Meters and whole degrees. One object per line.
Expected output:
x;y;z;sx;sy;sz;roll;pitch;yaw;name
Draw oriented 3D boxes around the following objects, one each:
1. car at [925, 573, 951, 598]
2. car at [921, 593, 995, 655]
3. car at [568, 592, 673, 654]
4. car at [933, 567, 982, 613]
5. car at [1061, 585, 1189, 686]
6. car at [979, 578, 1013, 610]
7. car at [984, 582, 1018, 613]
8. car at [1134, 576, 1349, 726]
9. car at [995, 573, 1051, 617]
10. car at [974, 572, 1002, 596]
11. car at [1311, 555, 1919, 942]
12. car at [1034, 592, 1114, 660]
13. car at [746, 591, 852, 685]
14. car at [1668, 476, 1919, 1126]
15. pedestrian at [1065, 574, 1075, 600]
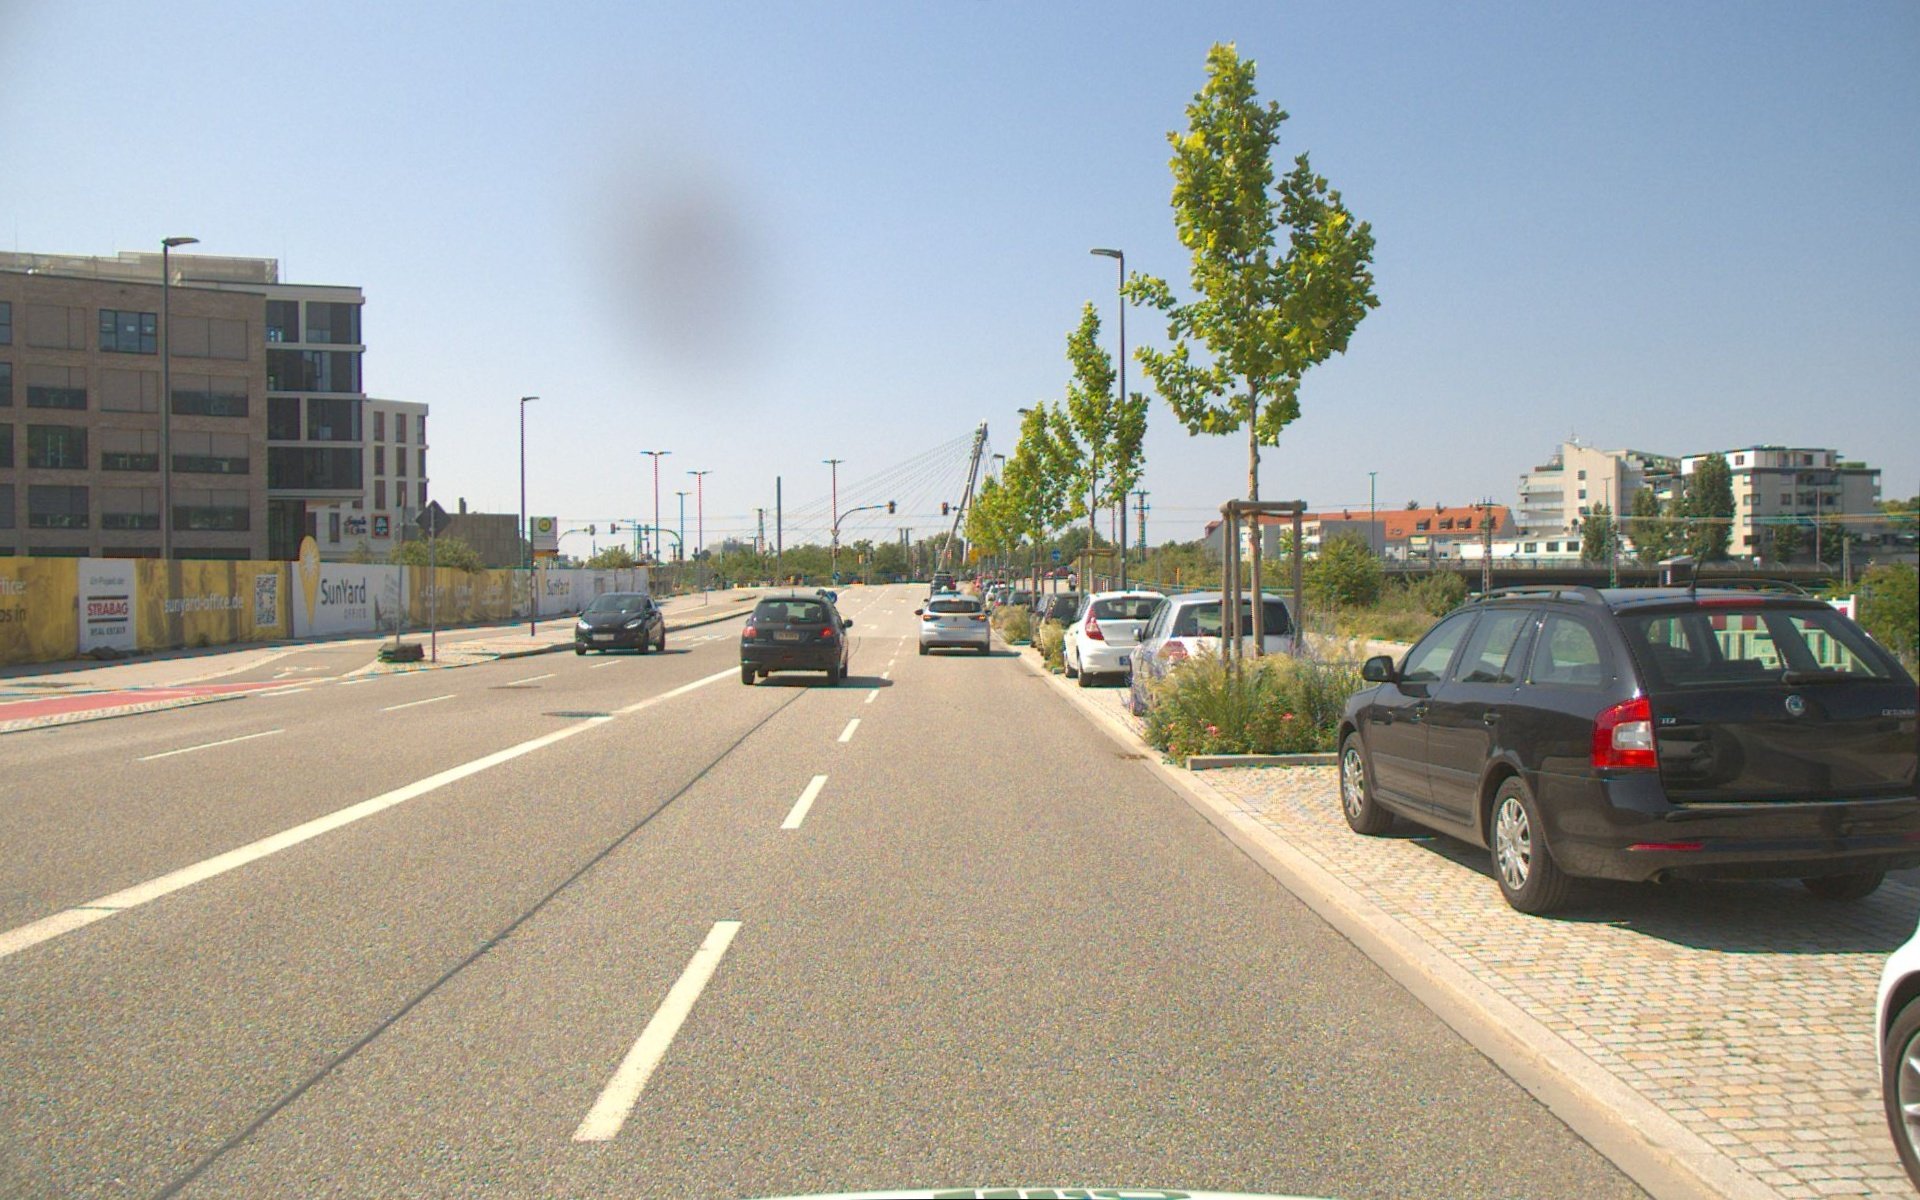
-1.476;-0.984;112.049;1.742;1.596;4.000;0;2;-1;car
-0.052;0.565;41.449;1.742;1.467;4.000;1;0;0;car
-8.163;0.526;40.126;1.669;1.376;4.455;-1;0;-1;car
-0.113;-0.399;61.250;1.742;1.596;4.000;0;2;-1;car
2.675;0.524;27.615;1.710;1.535;4.001;0;1;-1;car
2.008;-0.377;92.200;1.785;1.644;3.612;-2;1;1;car
2.095;-0.161;85.542;1.662;1.501;4.205;-2;1;0;car
3.075;0.504;18.855;1.869;1.505;4.159;-1;0;2;car
2.271;-0.158;60.516;1.670;1.488;3.952;-2;0;-3;car
1.874;-1.073;110.522;1.742;1.530;4.000;-1;1;0;car
3.393;0.604;8.891;1.754;1.503;4.368;-2;0;-4;car
2.617;0.572;38.747;1.669;1.488;4.085;0;0;1;car
-2.655;0.588;27.923;1.587;1.441;3.725;-1;0;-3;car
3.282;0.492;3.541;1.869;1.605;4.159;-1;0;2;car
6.822;-0.832;102.748;0.522;1.603;0.524;1;-1;-1;pedestrian
